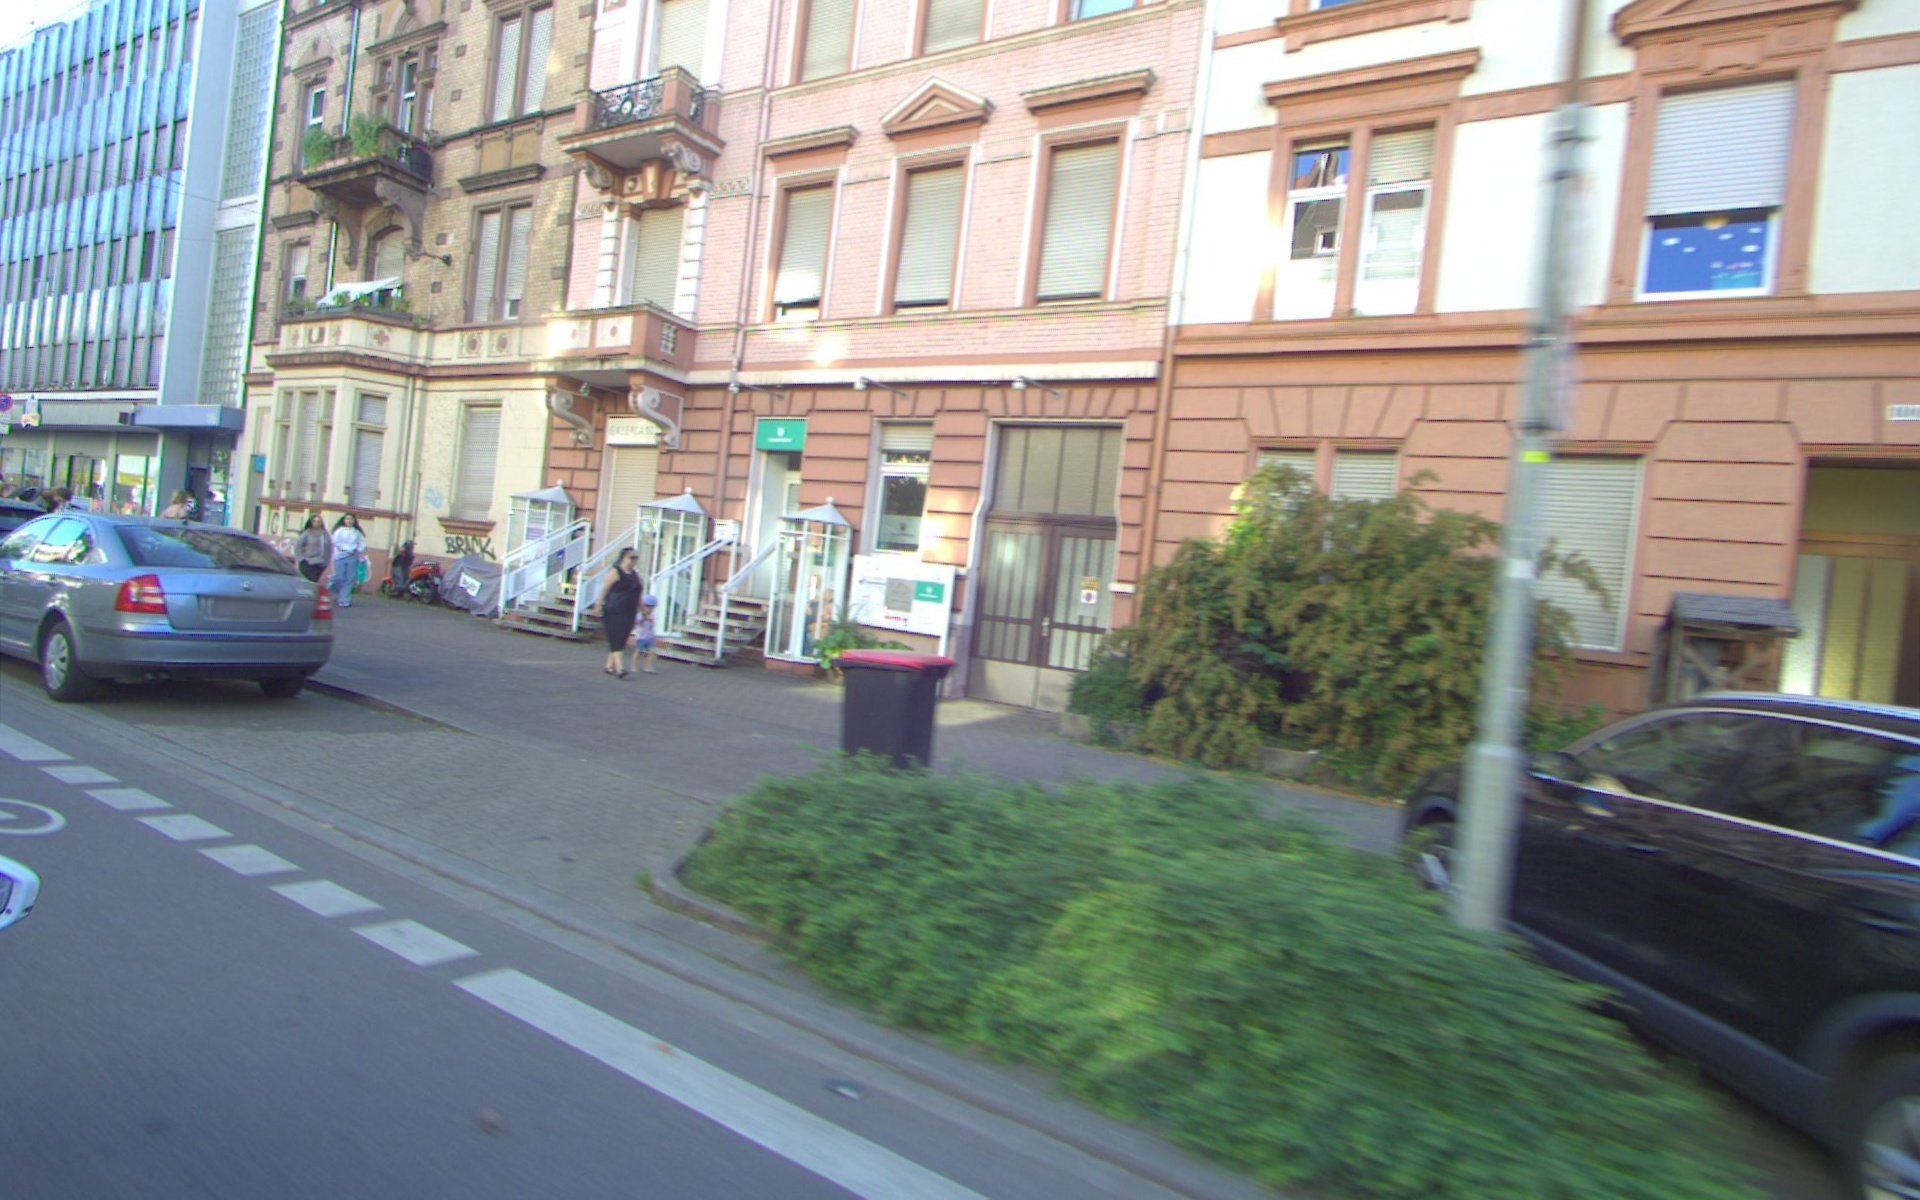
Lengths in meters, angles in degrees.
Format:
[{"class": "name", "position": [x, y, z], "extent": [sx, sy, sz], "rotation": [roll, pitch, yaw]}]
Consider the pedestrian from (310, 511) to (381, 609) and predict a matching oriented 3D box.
[{"class": "pedestrian", "position": [-10.922, -0.704, 17.895], "extent": [0.643, 1.626, 0.713], "rotation": [7, 0, 31]}]

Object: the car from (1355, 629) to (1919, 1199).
[{"class": "car", "position": [3.428, 1.038, 3.844], "extent": [1.946, 1.615, 4.318], "rotation": [7, -1, 0]}]

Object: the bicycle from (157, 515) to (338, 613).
[{"class": "bicycle", "position": [-10.685, -0.504, 15.175], "extent": [0.652, 1.236, 2.060], "rotation": [6, 0, 30]}]

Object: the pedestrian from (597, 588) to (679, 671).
[{"class": "pedestrian", "position": [-4.181, 0.380, 13.076], "extent": [0.643, 0.994, 0.712], "rotation": [6, 3, 31]}]

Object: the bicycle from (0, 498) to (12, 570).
[{"class": "bicycle", "position": [-16.957, -1.198, 17.200], "extent": [1.218, 1.199, 0.694], "rotation": [6, -1, 31]}]

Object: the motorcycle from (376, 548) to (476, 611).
[{"class": "motorcycle", "position": [-10.342, -0.406, 19.448], "extent": [2.477, 1.005, 0.506], "rotation": [6, 3, 32]}]

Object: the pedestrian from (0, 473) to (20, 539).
[{"class": "pedestrian", "position": [-26.708, -2.636, 27.859], "extent": [0.667, 1.777, 0.693], "rotation": [7, 0, 31]}]

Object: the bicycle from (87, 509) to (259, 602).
[{"class": "bicycle", "position": [-12.762, -0.695, 16.388], "extent": [0.653, 1.236, 2.023], "rotation": [6, -1, 31]}]

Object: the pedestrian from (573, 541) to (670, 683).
[{"class": "pedestrian", "position": [-4.122, 0.153, 12.284], "extent": [0.643, 1.626, 0.713], "rotation": [7, 0, 31]}]

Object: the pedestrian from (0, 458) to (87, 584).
[{"class": "pedestrian", "position": [-13.349, -1.135, 14.605], "extent": [0.643, 1.691, 0.713], "rotation": [7, 0, 31]}]

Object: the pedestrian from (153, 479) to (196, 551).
[{"class": "pedestrian", "position": [-21.275, -2.293, 27.253], "extent": [0.721, 1.828, 0.713], "rotation": [7, 0, -41]}]

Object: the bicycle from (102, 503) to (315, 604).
[{"class": "bicycle", "position": [-11.741, -0.683, 15.843], "extent": [0.653, 1.236, 2.543], "rotation": [6, -1, 31]}]

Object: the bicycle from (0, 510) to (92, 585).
[{"class": "bicycle", "position": [-17.541, -1.021, 18.675], "extent": [2.008, 1.236, 0.657], "rotation": [8, -1, -36]}]

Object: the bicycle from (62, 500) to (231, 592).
[{"class": "bicycle", "position": [-13.580, -0.874, 16.867], "extent": [0.653, 1.236, 2.023], "rotation": [6, -1, 31]}]

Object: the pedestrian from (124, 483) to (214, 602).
[{"class": "pedestrian", "position": [-11.594, -0.831, 14.754], "extent": [0.643, 1.626, 0.713], "rotation": [7, 0, 31]}]

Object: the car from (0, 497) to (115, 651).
[{"class": "car", "position": [-12.002, -0.476, 11.874], "extent": [3.934, 1.615, 1.876], "rotation": [6, -1, 32]}]

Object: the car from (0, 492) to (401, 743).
[{"class": "car", "position": [-7.179, 0.030, 8.807], "extent": [4.641, 1.615, 1.876], "rotation": [6, -1, 32]}]

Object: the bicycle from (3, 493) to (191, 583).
[{"class": "bicycle", "position": [-15.274, -1.064, 17.884], "extent": [0.653, 1.236, 2.360], "rotation": [6, -1, 35]}]

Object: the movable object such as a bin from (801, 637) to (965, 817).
[{"class": "movable object such as a bin", "position": [-0.510, 0.820, 6.712], "extent": [0.792, 1.040, 0.605], "rotation": [6, 0, 32]}]

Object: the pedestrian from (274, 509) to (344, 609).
[{"class": "pedestrian", "position": [-11.094, -0.691, 17.146], "extent": [0.643, 1.628, 0.712], "rotation": [7, 3, 31]}]
